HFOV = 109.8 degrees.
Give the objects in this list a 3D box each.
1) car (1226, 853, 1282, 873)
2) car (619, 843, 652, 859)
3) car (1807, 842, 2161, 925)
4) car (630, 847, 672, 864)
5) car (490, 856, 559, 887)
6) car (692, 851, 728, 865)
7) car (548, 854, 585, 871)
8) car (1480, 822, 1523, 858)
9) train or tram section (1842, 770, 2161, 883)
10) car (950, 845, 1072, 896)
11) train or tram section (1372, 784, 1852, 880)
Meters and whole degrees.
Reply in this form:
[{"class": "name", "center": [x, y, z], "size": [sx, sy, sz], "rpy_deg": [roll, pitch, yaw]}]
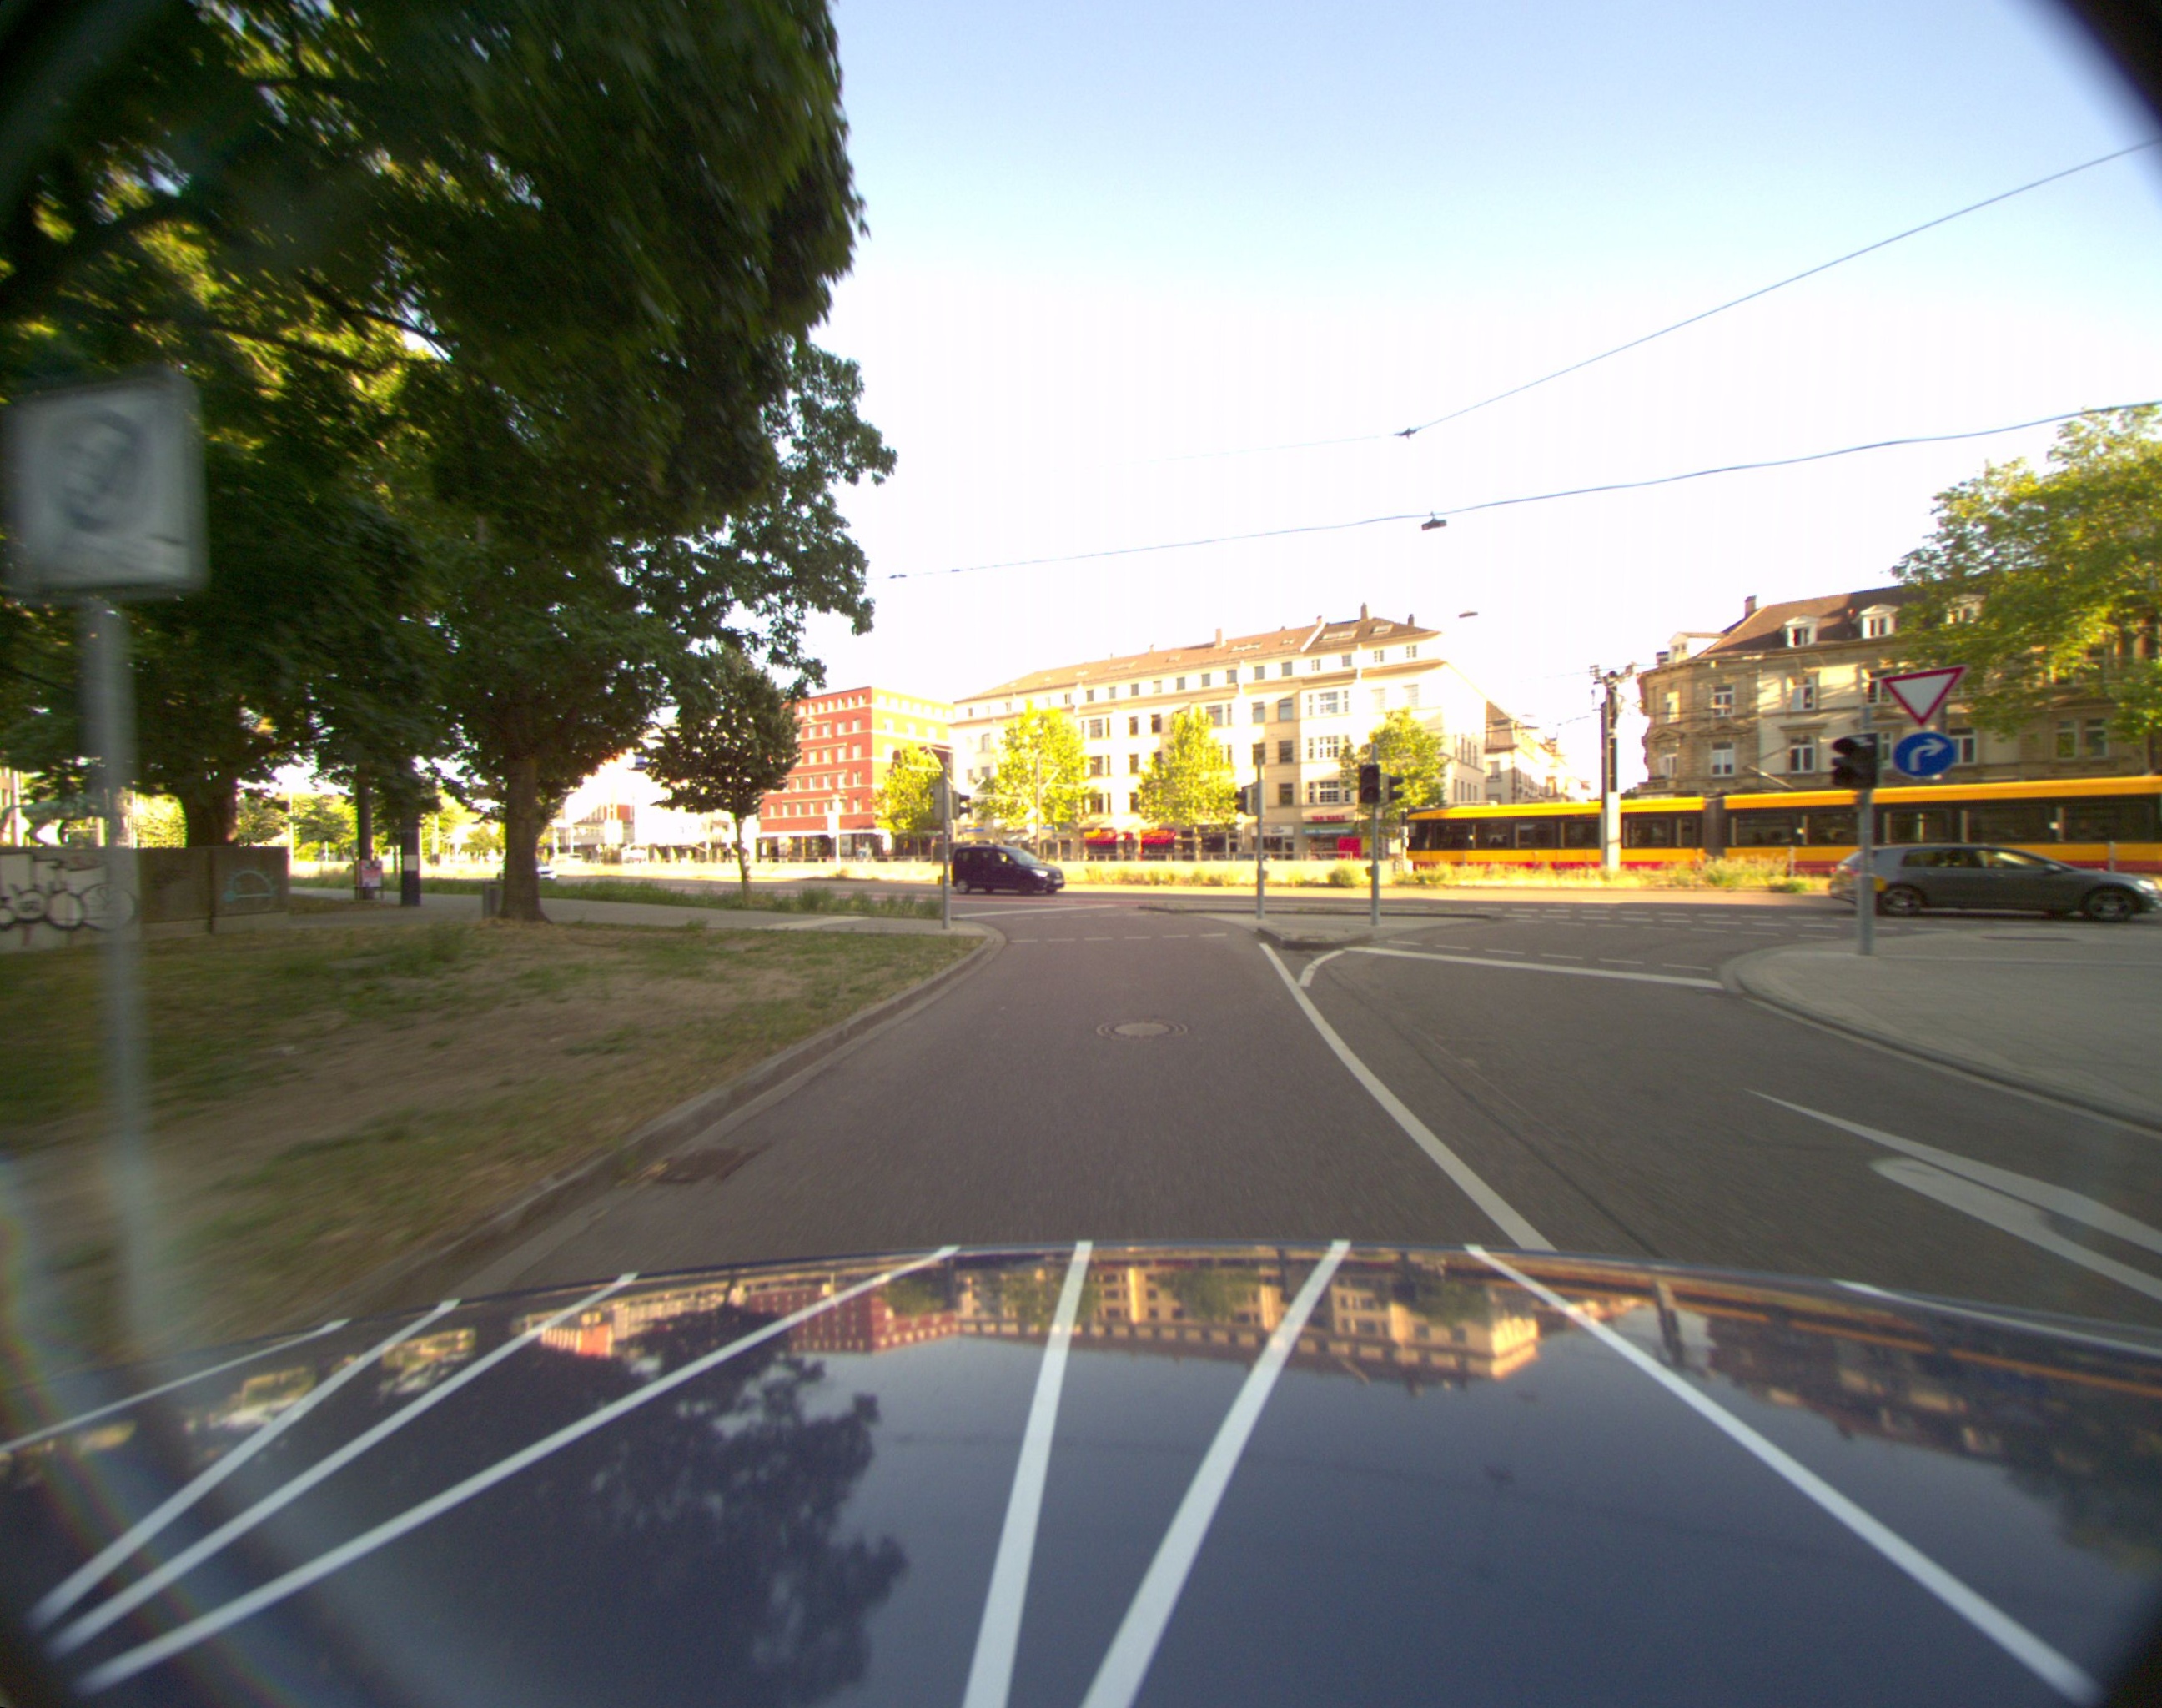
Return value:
[{"class": "car", "center": [12.655, 0.614, 55.763], "size": [3.699, 1.325, 1.461], "rpy_deg": [0, 3, 34]}, {"class": "car", "center": [-59.901, -0.400, 102.243], "size": [4.560, 2.121, 1.963], "rpy_deg": [0, 1, 33]}, {"class": "car", "center": [17.596, 0.541, 15.145], "size": [4.233, 1.418, 1.774], "rpy_deg": [-1, 2, 32]}, {"class": "car", "center": [-47.180, 0.195, 83.266], "size": [4.965, 1.808, 2.004], "rpy_deg": [0, 1, 35]}, {"class": "car", "center": [-30.742, 0.920, 41.936], "size": [4.266, 1.529, 1.838], "rpy_deg": [0, 3, 36]}, {"class": "car", "center": [-47.618, 0.496, 97.386], "size": [4.728, 1.787, 2.004], "rpy_deg": [0, 1, 34]}, {"class": "car", "center": [-64.189, 1.024, 94.850], "size": [4.761, 2.002, 2.004], "rpy_deg": [0, 1, 32]}, {"class": "car", "center": [28.774, -0.924, 52.138], "size": [2.464, 2.253, 7.304], "rpy_deg": [0, 1, 28]}, {"class": "train or tram section", "center": [36.987, -0.878, 22.765], "size": [19.873, 3.538, 3.129], "rpy_deg": [0, 1, 41]}, {"class": "car", "center": [-2.552, 0.556, 27.416], "size": [4.136, 1.722, 1.774], "rpy_deg": [0, 1, 32]}, {"class": "train or tram section", "center": [22.696, -0.821, 34.796], "size": [17.426, 3.538, 3.129], "rpy_deg": [0, 1, 39]}]
